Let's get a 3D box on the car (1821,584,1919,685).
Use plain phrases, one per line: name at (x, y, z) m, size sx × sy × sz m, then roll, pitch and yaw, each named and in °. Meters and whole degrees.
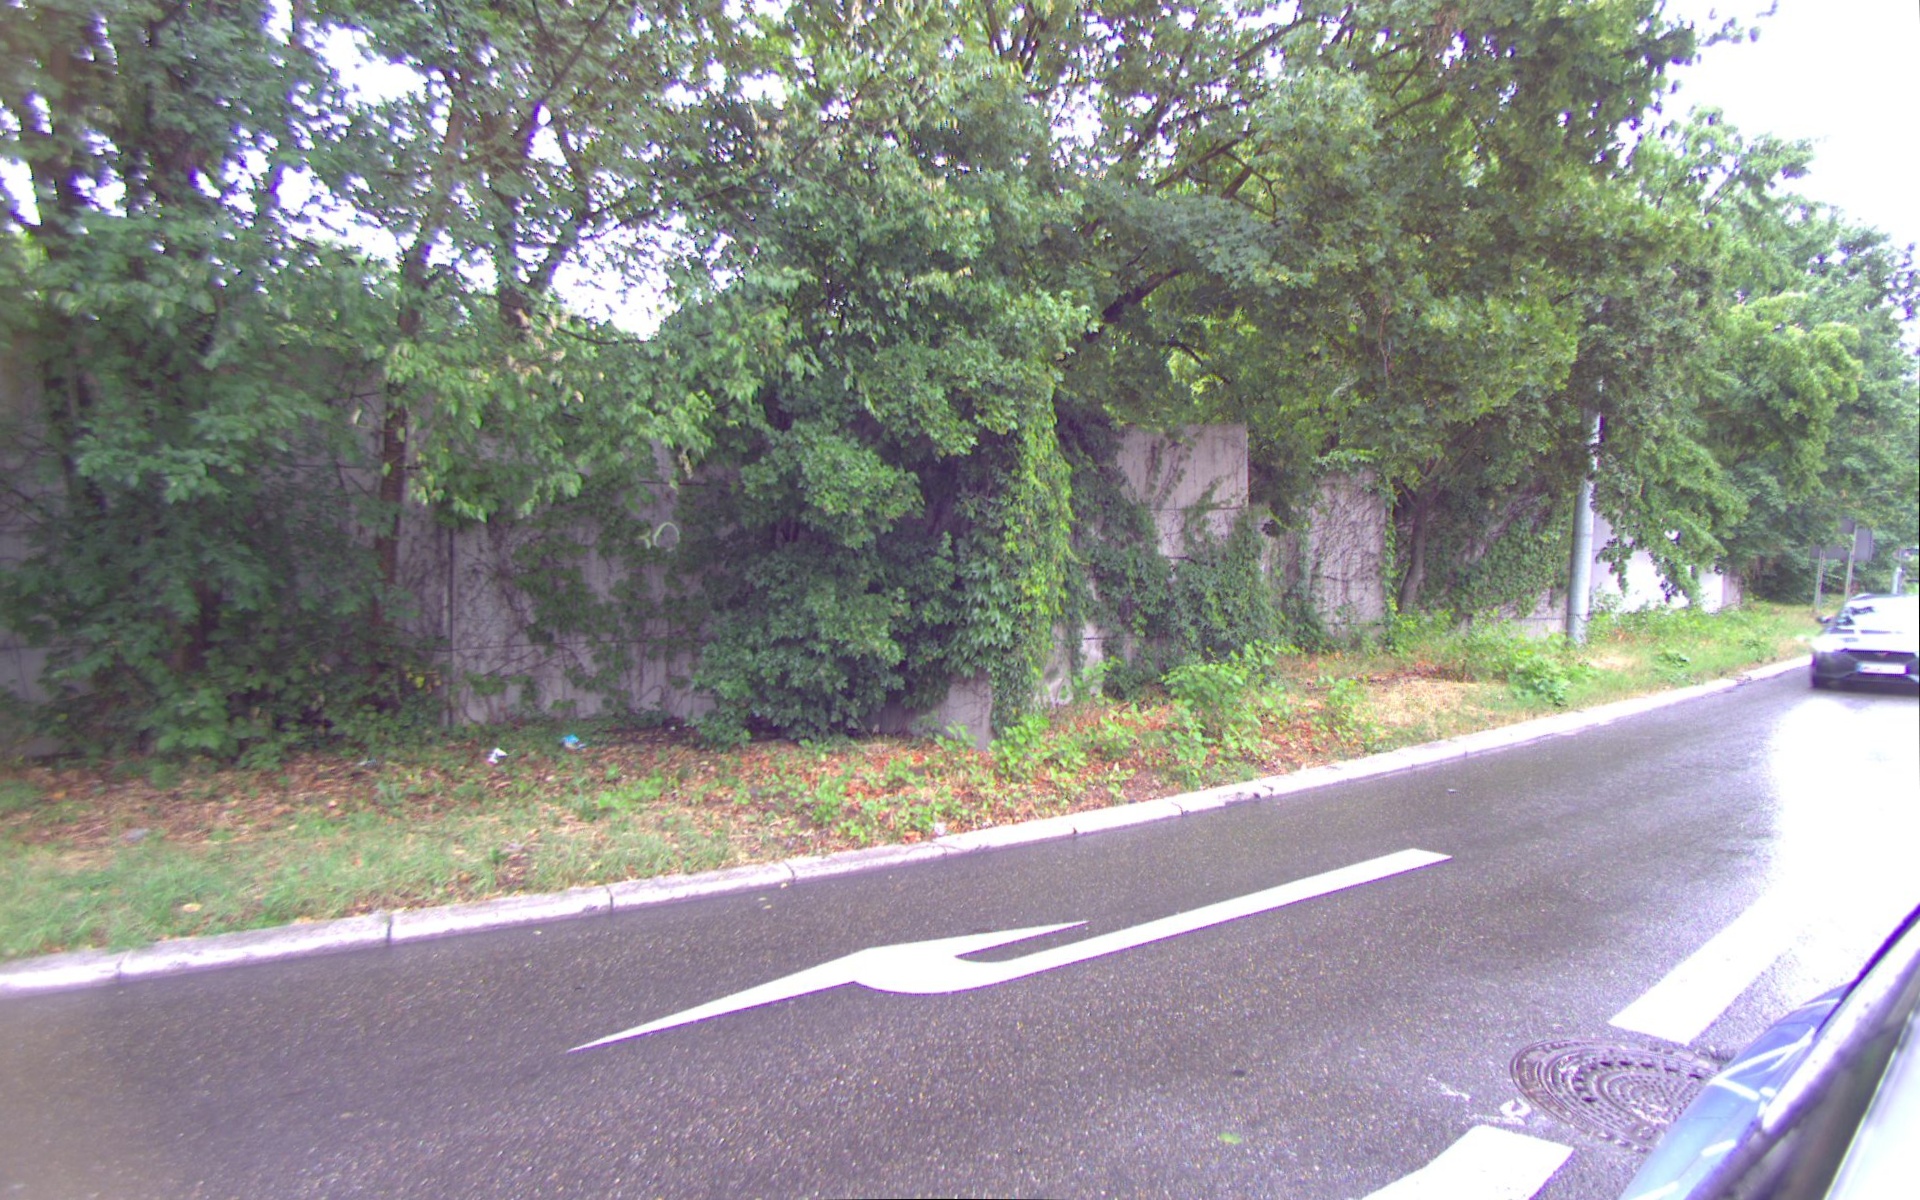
car at (14.998, 0.510, 15.823) m, size 4.337 × 1.421 × 1.750 m, roll 1°, pitch -1°, yaw -42°
